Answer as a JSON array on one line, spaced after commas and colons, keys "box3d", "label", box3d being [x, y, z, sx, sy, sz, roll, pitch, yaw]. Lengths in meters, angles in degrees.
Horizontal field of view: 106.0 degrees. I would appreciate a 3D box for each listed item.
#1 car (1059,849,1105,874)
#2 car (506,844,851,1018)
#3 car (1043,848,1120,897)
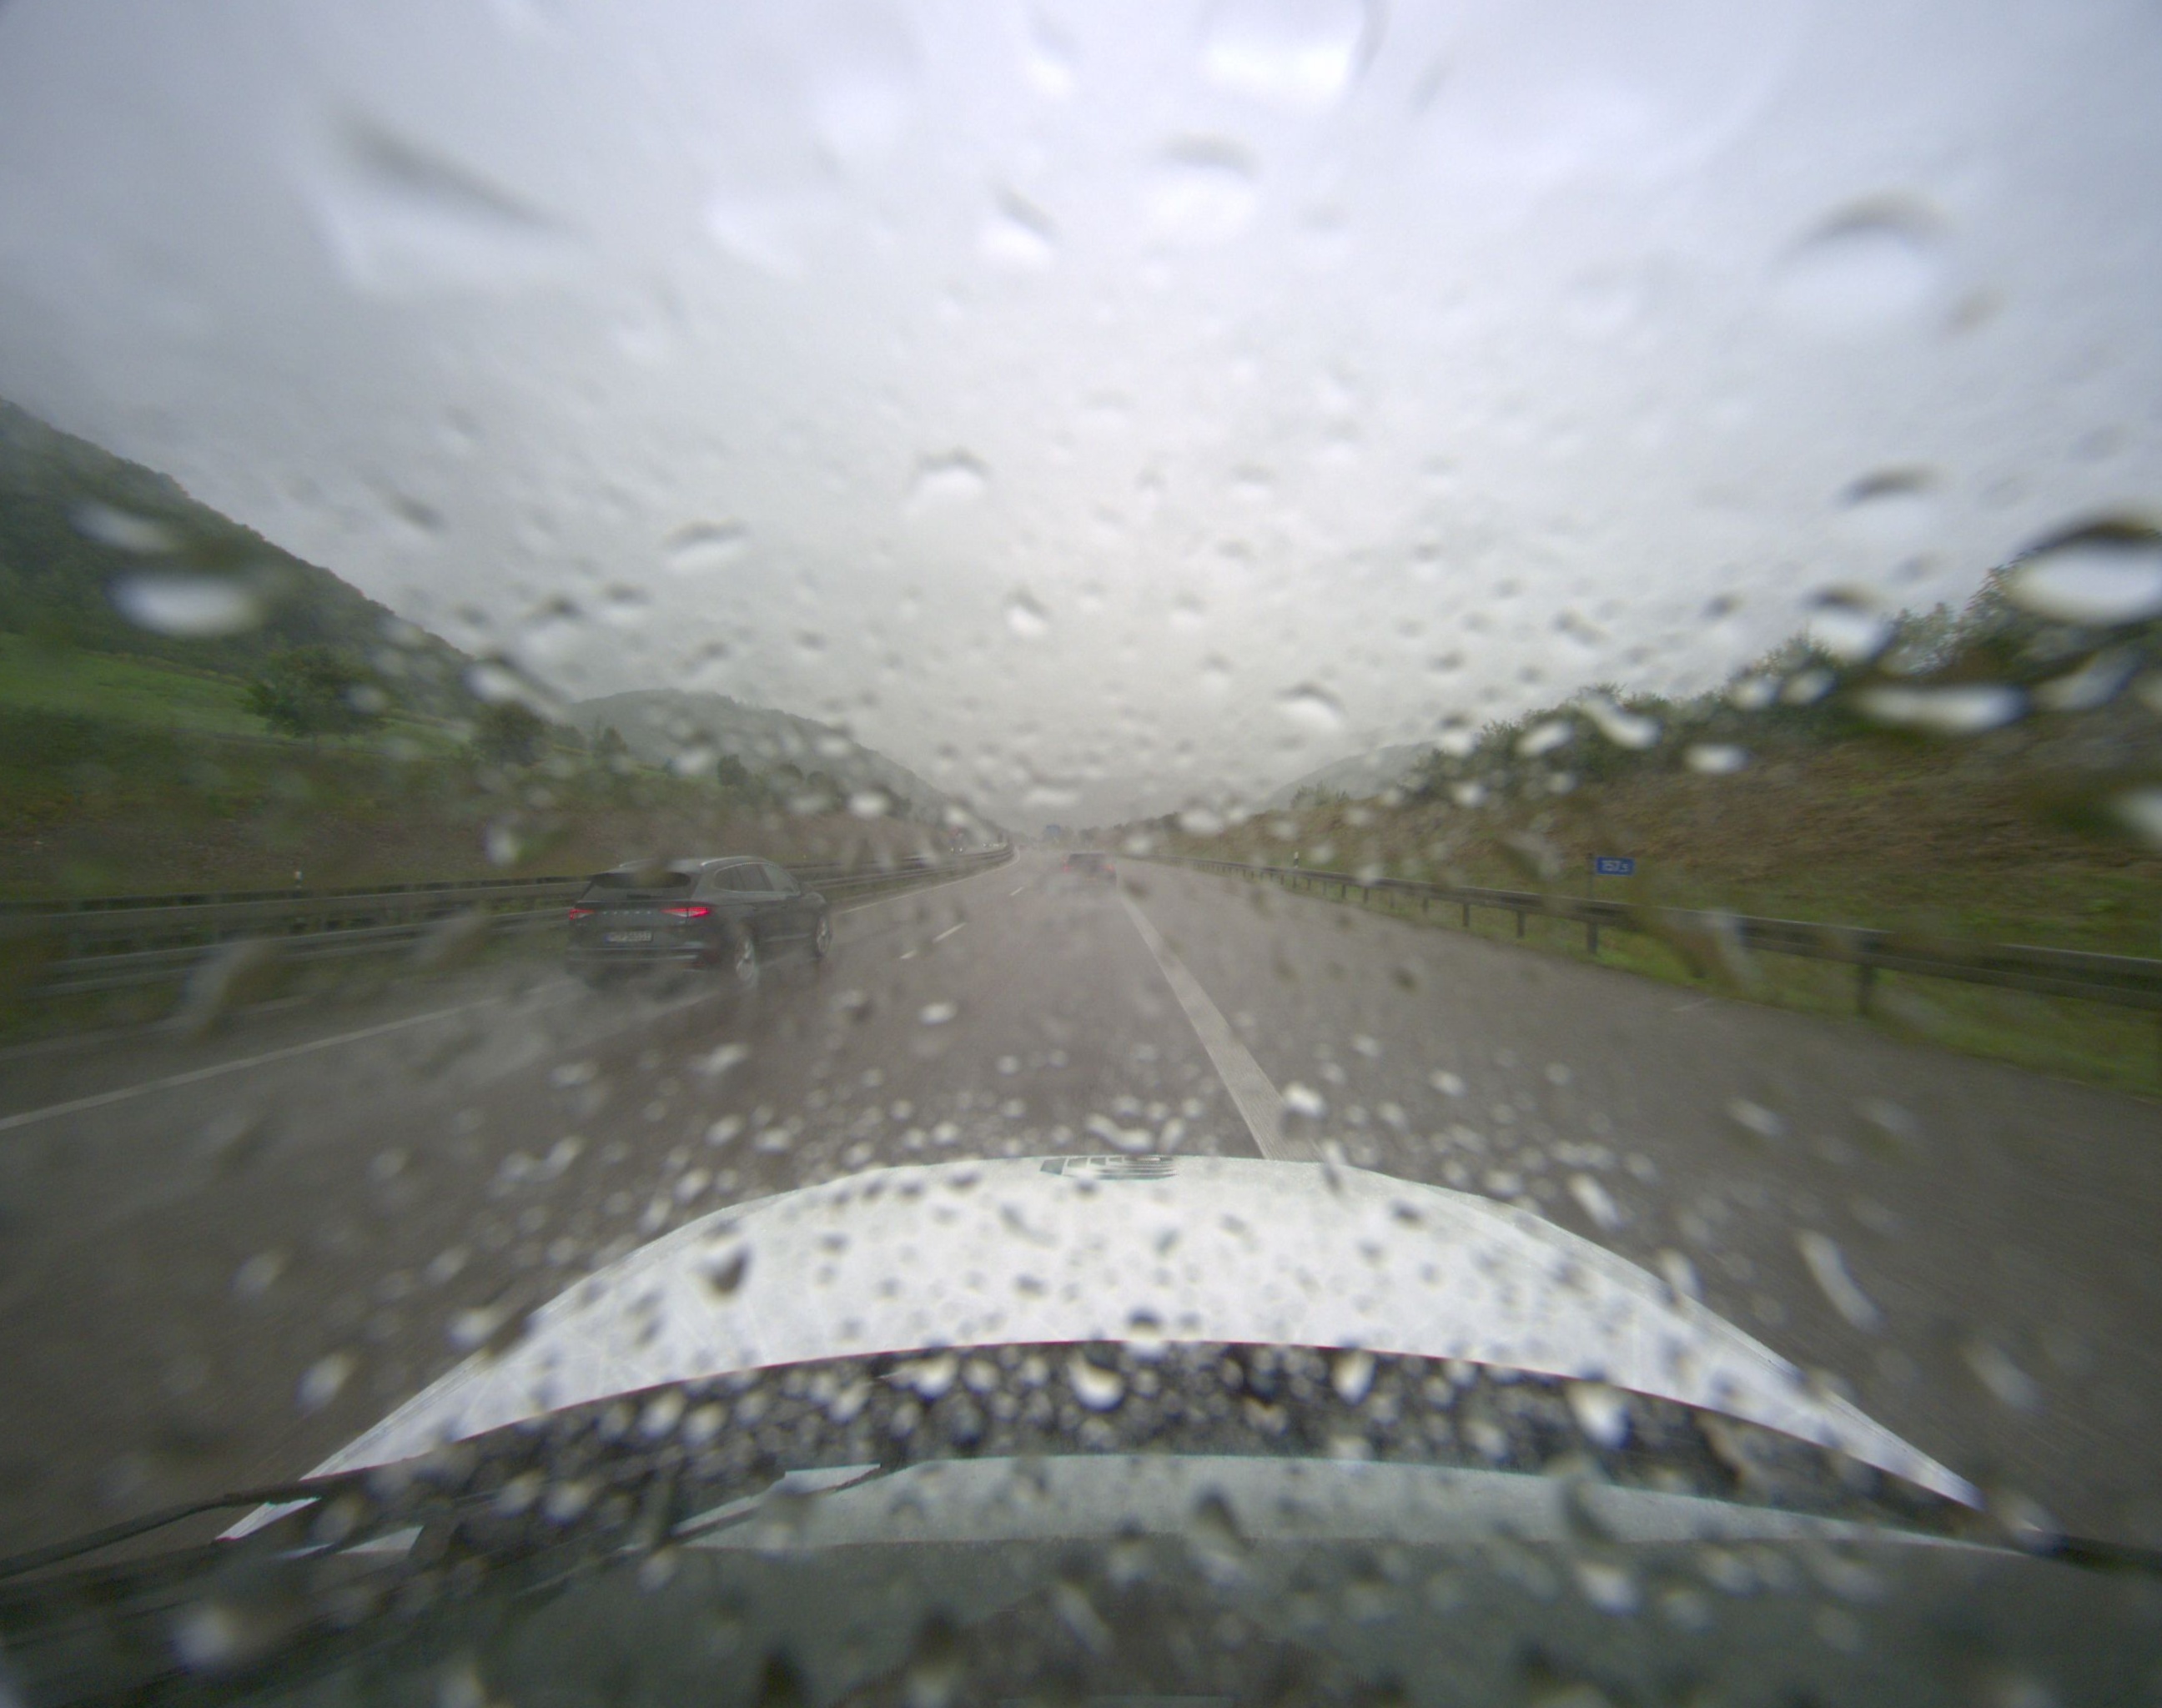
[{"box3d": [-0.017, 0.484, 51.683, 2.659, 1.515, 5.712, 1, -1, -2], "label": "car"}, {"box3d": [-4.836, 0.769, 10.846, 1.986, 1.683, 4.911, -2, 1, 1], "label": "car"}, {"box3d": [0.131, 0.606, 28.046, 2.396, 1.515, 4.787, 1, -1, 3], "label": "car"}]
